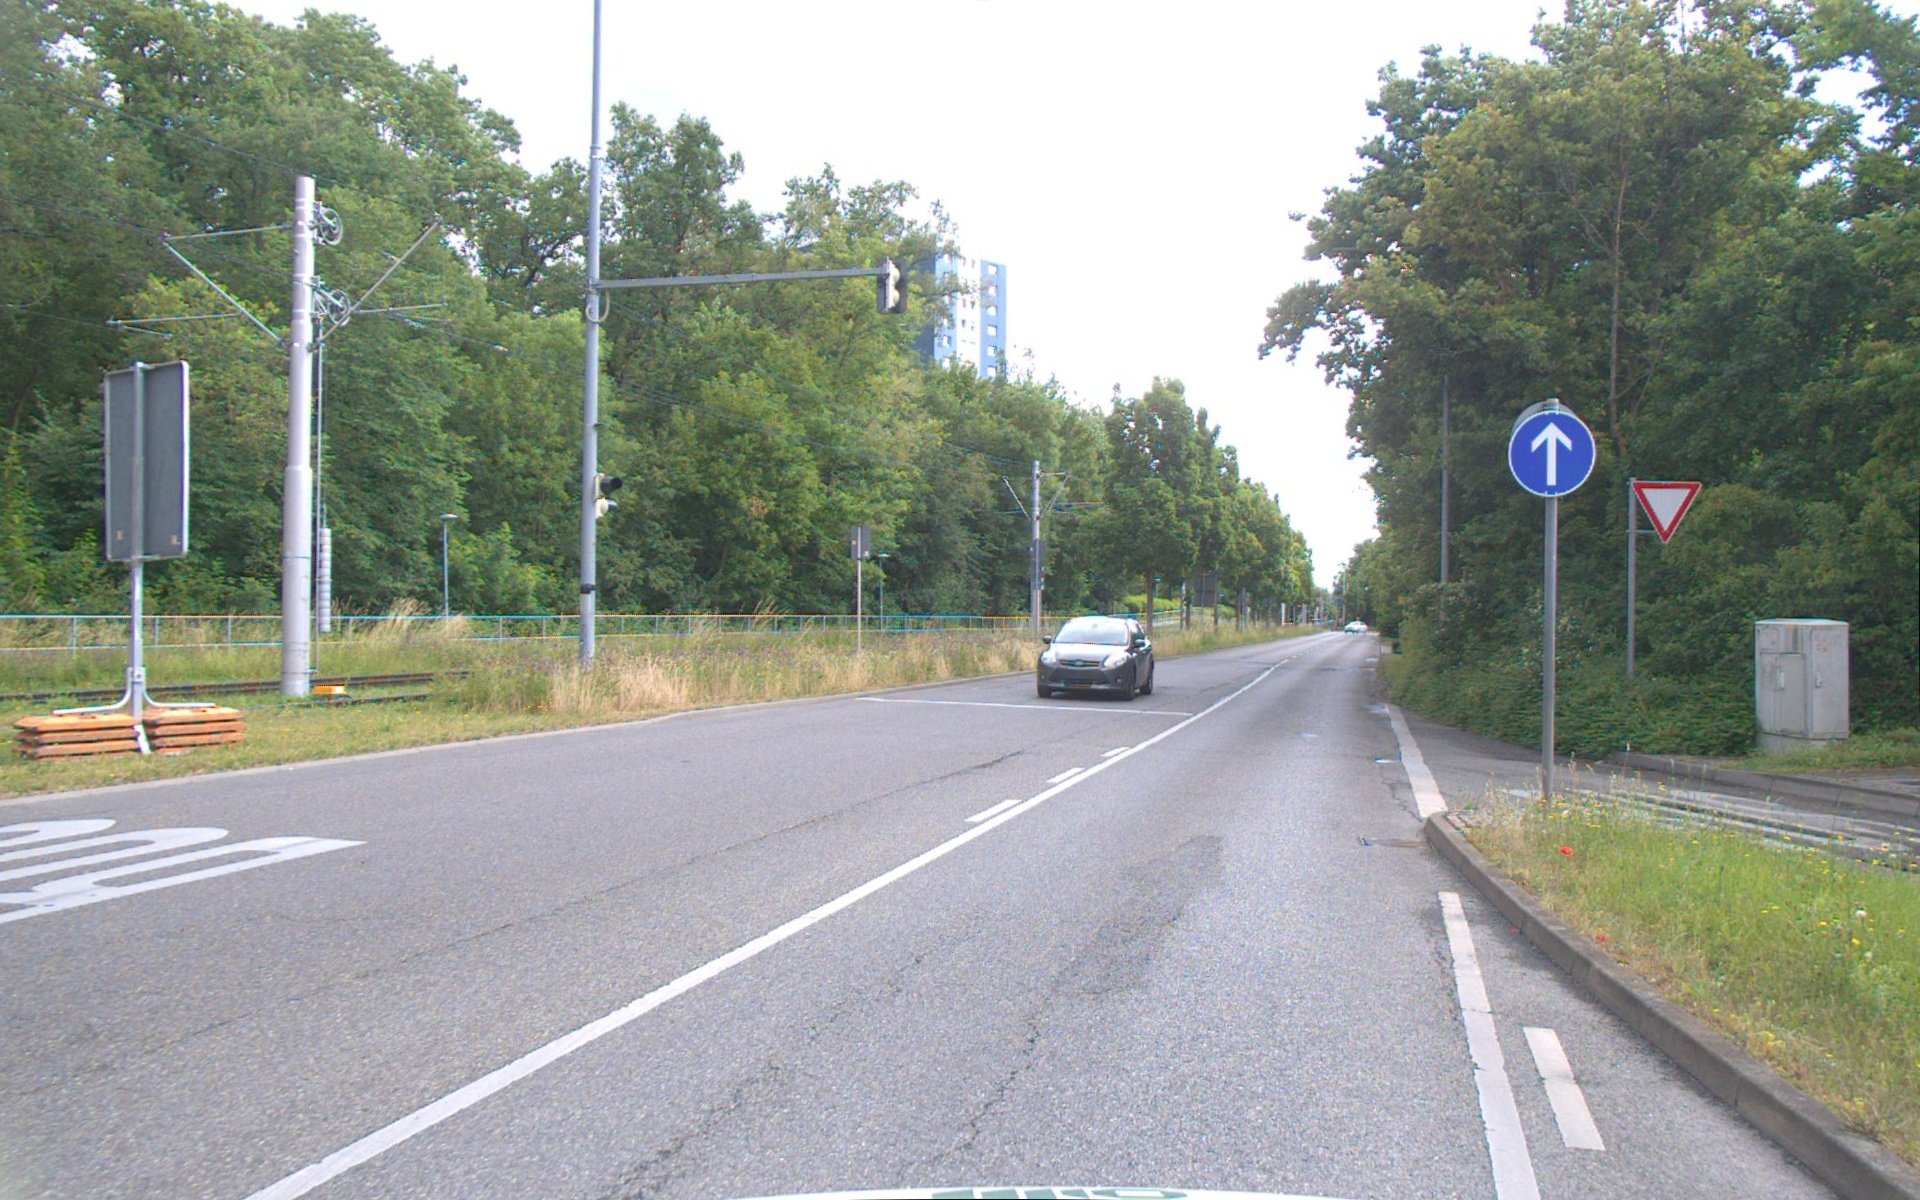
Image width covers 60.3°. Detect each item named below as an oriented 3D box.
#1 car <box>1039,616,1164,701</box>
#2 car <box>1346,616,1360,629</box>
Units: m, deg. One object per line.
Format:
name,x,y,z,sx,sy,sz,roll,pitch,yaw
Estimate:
car,2.748,1.044,31.263,1.718,1.460,4.432,0,0,13
car,50.699,2.900,213.520,1.680,1.658,4.003,2,0,14
